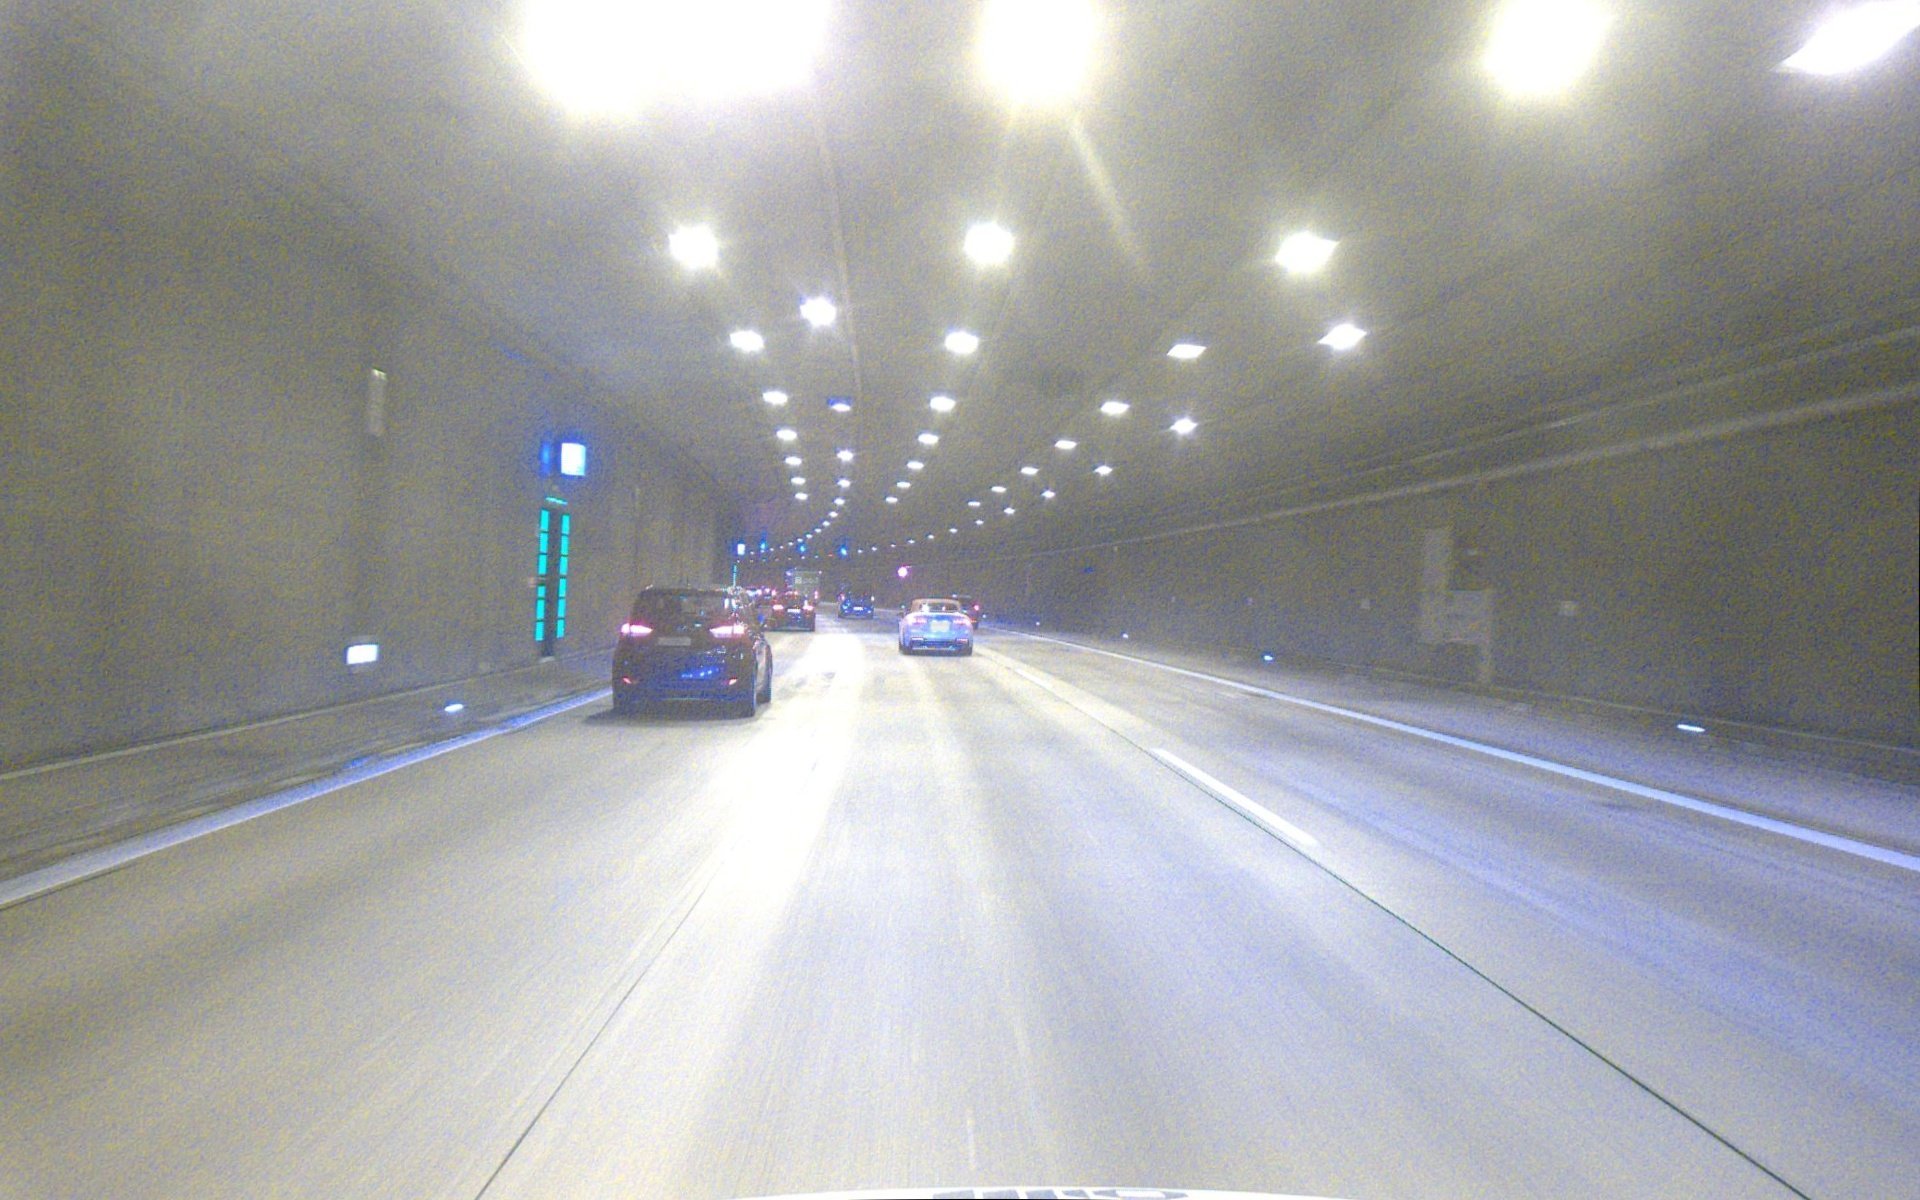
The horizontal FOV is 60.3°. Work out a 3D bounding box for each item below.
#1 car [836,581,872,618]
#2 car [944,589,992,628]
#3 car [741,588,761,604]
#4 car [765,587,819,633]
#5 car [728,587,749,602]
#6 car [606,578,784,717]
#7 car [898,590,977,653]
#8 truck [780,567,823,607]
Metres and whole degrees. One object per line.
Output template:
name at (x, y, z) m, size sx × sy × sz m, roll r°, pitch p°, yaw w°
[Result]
car at (-5.996, -0.048, 93.138) m, size 1.954 × 2.006 × 3.996 m, roll 1°, pitch 0°, yaw -4°
car at (0.324, 0.370, 72.918) m, size 1.803 × 1.630 × 3.997 m, roll 1°, pitch 0°, yaw -4°
car at (-24.146, -0.415, 191.033) m, size 1.957 × 1.785 × 3.990 m, roll 2°, pitch 0°, yaw -10°
car at (-6.635, 0.385, 64.939) m, size 1.768 × 1.713 × 3.990 m, roll 1°, pitch 0°, yaw -11°
car at (-23.148, -0.563, 172.759) m, size 1.958 × 1.557 × 3.989 m, roll 2°, pitch 0°, yaw -11°
car at (-3.322, 0.549, 21.374) m, size 1.749 × 1.626 × 3.800 m, roll 0°, pitch 0°, yaw -1°
car at (-0.591, 0.525, 43.129) m, size 1.953 × 1.509 × 3.999 m, roll 1°, pitch 0°, yaw -1°
truck at (-13.584, -1.197, 141.201) m, size 3.026 × 3.167 × 10.009 m, roll 2°, pitch 1°, yaw -9°
